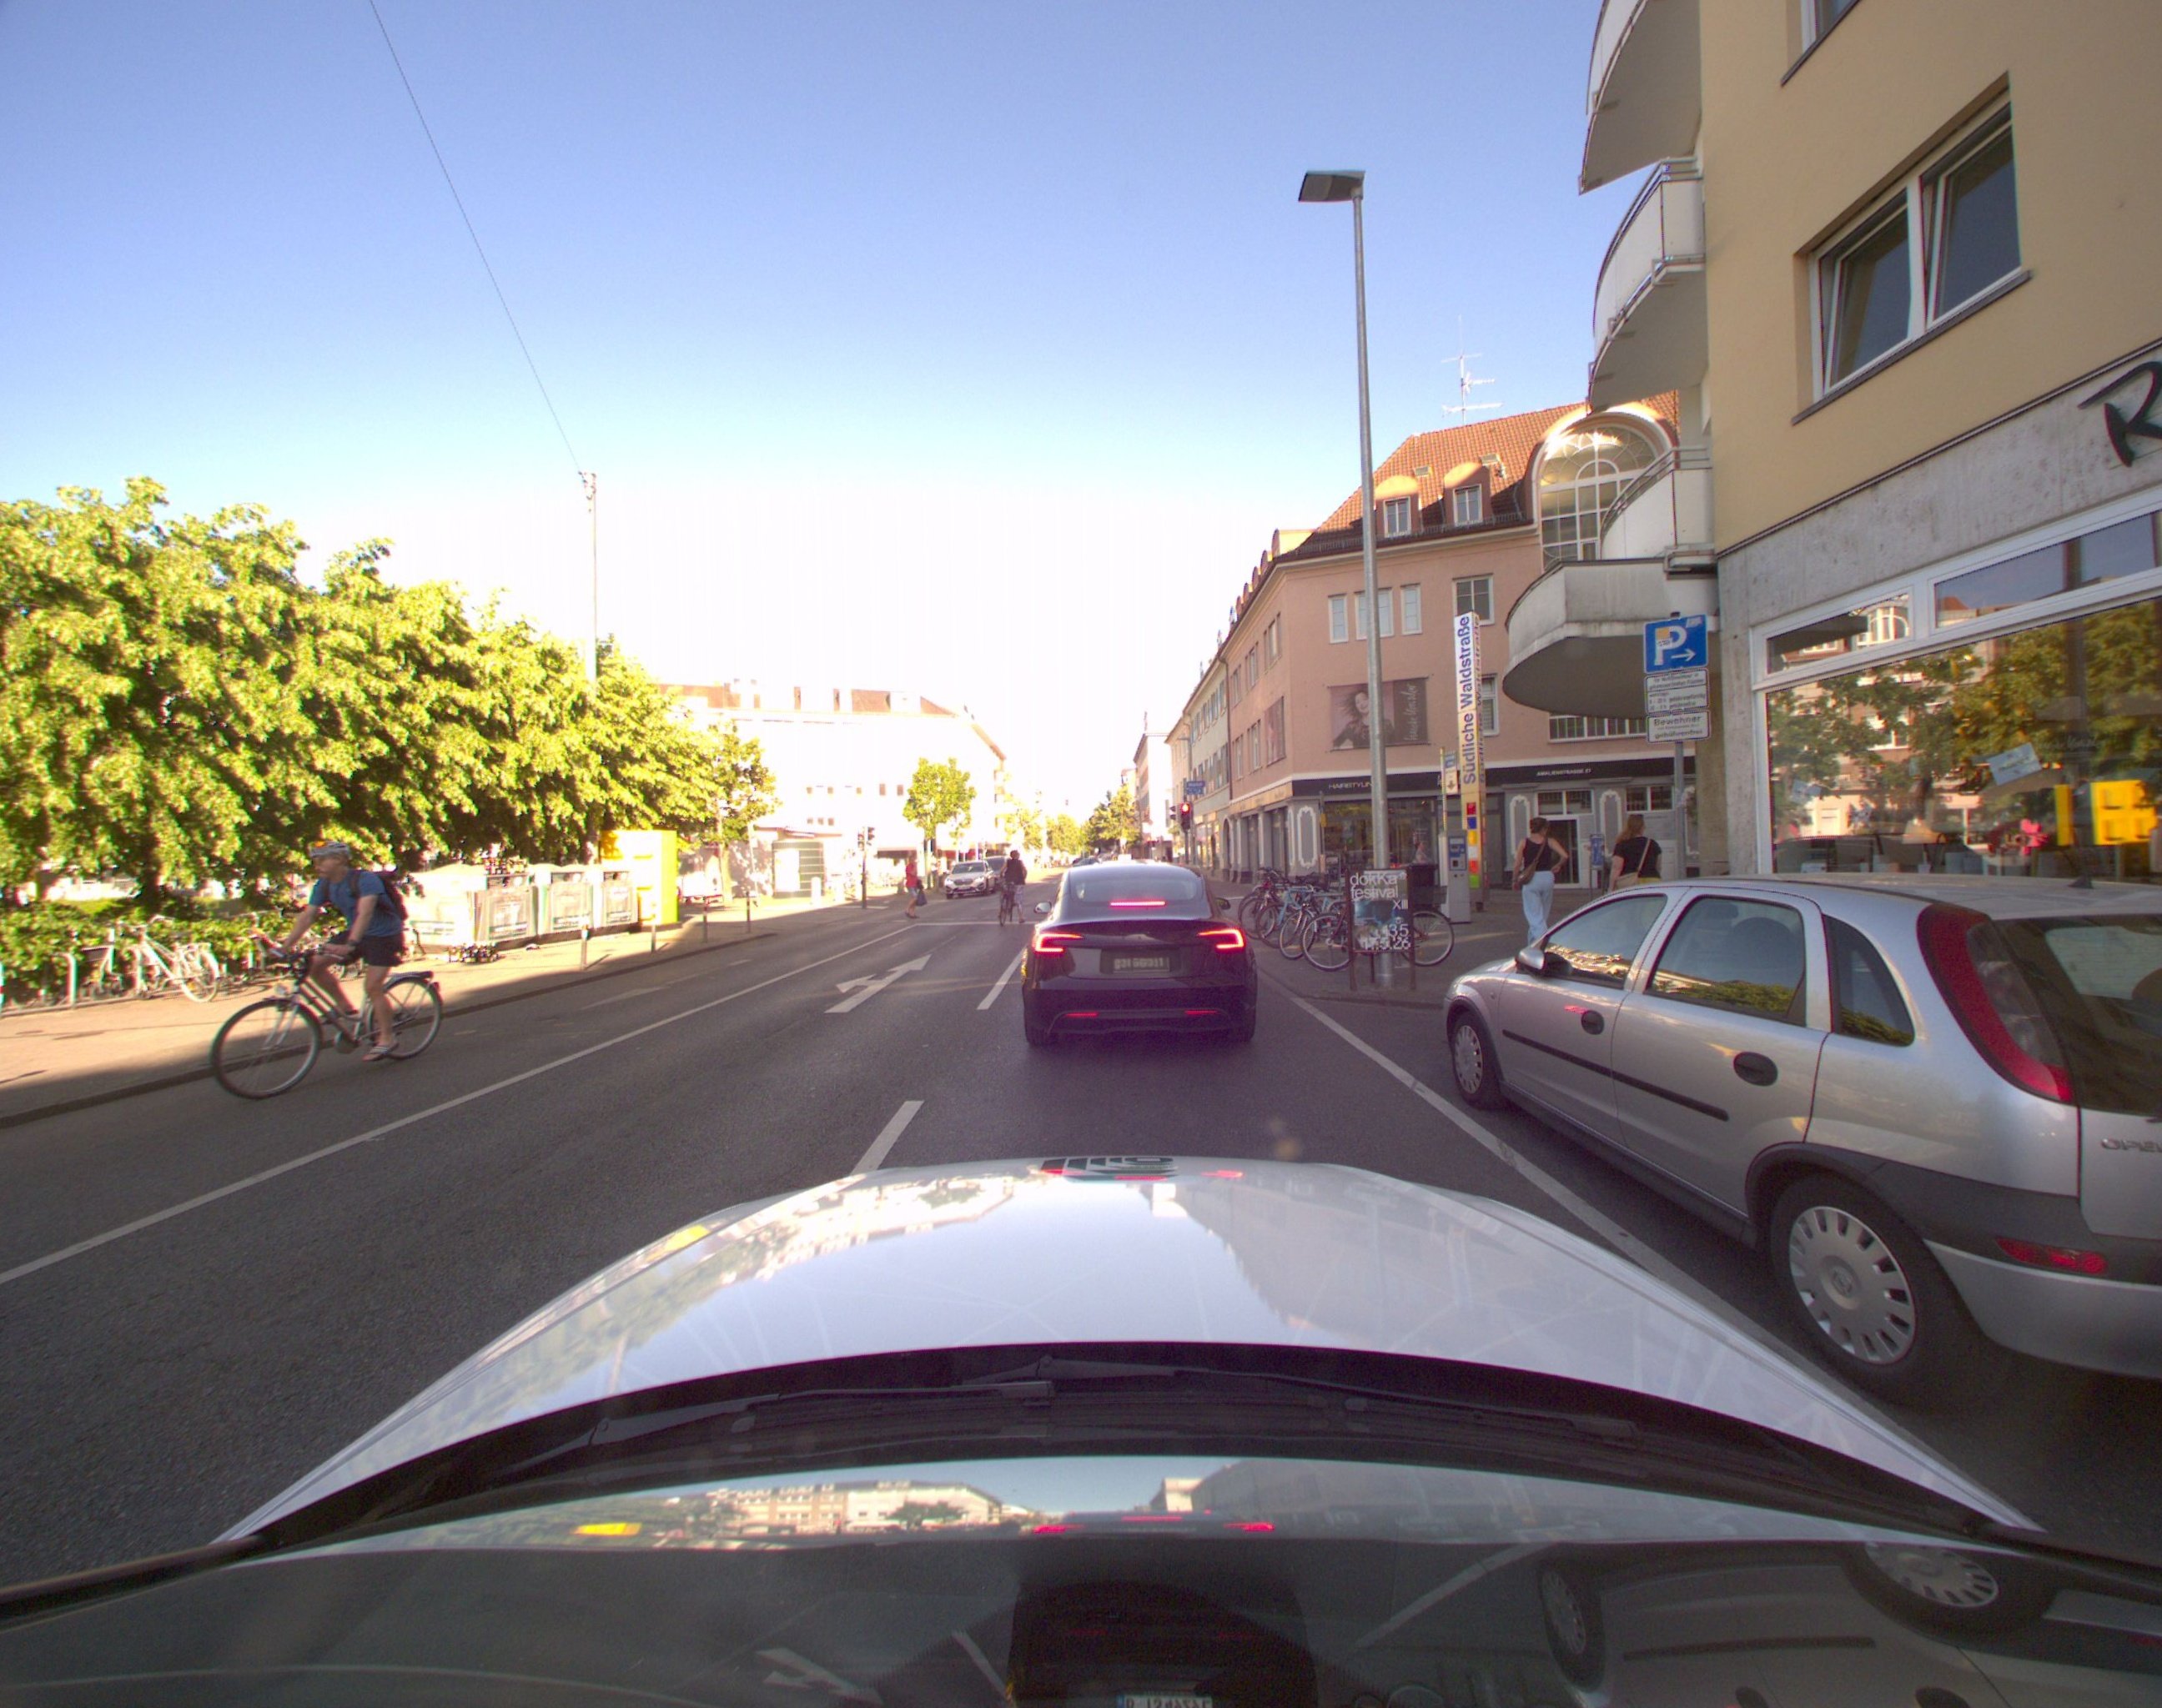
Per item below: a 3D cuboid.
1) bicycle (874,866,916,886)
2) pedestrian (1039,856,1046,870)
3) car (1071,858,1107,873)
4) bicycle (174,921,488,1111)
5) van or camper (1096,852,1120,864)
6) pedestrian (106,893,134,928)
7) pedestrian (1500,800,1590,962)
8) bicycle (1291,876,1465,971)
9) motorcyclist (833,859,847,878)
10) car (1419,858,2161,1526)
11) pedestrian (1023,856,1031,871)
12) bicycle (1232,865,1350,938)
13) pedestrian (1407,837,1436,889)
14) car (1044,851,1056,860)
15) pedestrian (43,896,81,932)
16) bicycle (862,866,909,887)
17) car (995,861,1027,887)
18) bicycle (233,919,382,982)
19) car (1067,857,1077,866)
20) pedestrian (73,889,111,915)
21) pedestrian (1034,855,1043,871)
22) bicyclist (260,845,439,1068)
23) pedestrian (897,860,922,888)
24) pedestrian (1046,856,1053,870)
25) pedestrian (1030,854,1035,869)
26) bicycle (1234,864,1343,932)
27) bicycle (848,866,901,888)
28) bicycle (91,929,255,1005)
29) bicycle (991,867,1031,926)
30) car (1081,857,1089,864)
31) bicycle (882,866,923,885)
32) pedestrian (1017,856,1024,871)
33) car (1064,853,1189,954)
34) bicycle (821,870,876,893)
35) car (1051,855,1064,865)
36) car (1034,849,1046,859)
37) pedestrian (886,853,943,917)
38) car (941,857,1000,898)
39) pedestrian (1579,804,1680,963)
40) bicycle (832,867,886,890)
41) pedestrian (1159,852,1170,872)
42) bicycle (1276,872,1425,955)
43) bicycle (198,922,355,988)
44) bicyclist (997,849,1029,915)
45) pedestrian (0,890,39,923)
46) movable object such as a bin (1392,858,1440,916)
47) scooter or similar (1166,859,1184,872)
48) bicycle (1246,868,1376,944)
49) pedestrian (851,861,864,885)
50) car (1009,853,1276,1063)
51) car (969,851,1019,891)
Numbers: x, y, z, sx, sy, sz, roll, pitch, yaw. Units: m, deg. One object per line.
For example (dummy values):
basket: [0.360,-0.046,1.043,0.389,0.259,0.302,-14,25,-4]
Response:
bicycle: [-11.998,1.401,52.571,2.535,1.251,0.942,0,-1,-1]
pedestrian: [-5.221,1.216,109.691,0.696,1.868,0.905,0,-1,-15]
car: [0.820,1.149,81.027,1.677,1.390,3.941,-1,-1,36]
bicycle: [-5.988,1.221,6.701,0.613,1.162,1.960,-3,-1,4]
van or camper: [5.643,0.844,167.653,4.832,2.438,1.851,-1,0,1]
pedestrian: [-44.174,2.581,37.435,0.827,1.520,0.782,-1,-1,38]
pedestrian: [5.644,0.320,9.962,0.675,1.849,0.898,-5,-1,19]
bicycle: [3.635,0.845,10.075,1.875,1.044,0.653,-2,0,3]
motorcyclist: [-21.769,1.294,73.589,1.115,1.633,0.769,0,-1,-28]
car: [2.959,0.739,3.539,1.578,1.426,3.581,0,-1,2]
pedestrian: [-6.455,1.128,97.457,0.734,1.868,0.787,0,-1,-15]
bicycle: [3.495,0.775,13.635,1.806,1.152,0.653,-1,0,3]
pedestrian: [10.352,0.259,24.780,0.714,1.549,0.797,-1,-1,29]
car: [-7.154,0.283,188.727,2.266,2.014,4.720,0,-1,3]
pedestrian: [-45.568,2.680,36.436,0.928,1.520,0.924,0,-1,-43]
bicycle: [-12.053,1.387,50.295,2.655,1.259,0.942,0,-1,-1]
car: [-4.256,1.204,50.040,1.455,1.430,3.607,-5,-1,2]
bicycle: [-11.462,1.427,12.096,1.663,0.859,0.469,0,-1,-5]
car: [-1.987,1.770,187.422,2.124,1.970,4.135,-1,0,2]
pedestrian: [-47.448,2.295,39.078,0.857,1.214,0.905,-1,-1,19]
pedestrian: [-4.974,1.095,94.784,0.726,1.868,0.796,-1,-1,30]
bicyclist: [-5.998,0.799,6.719,0.697,1.709,0.811,-2,-1,5]
pedestrian: [-10.312,1.200,49.053,1.086,1.611,1.269,-1,-1,9]
pedestrian: [-4.067,1.176,105.748,0.774,1.868,1.005,0,-1,-10]
pedestrian: [-6.211,0.974,104.218,0.693,1.868,0.658,0,-1,-3]
bicycle: [3.736,0.783,14.764,1.806,1.152,0.653,-1,0,3]
bicycle: [-12.154,1.364,47.977,2.867,1.270,0.942,0,-1,-1]
bicycle: [-11.463,1.419,10.299,1.560,0.885,0.470,0,-1,1]
bicycle: [-1.577,0.937,18.682,0.625,1.223,2.002,0,1,3]
car: [1.001,1.641,210.814,1.886,1.813,3.925,0,-1,0]
bicycle: [-12.052,1.421,54.998,2.535,1.251,0.942,0,-1,-1]
pedestrian: [-7.254,1.133,97.339,0.734,1.868,0.787,0,-1,-15]
car: [0.741,0.749,14.299,1.843,1.482,4.453,0,0,2]
bicycle: [-12.325,1.439,43.238,2.652,1.195,0.942,0,-1,-1]
car: [-4.850,1.316,166.802,2.405,1.970,4.679,-1,0,2]
car: [-9.010,-0.019,180.132,2.266,2.014,4.720,0,-1,3]
pedestrian: [-4.572,0.836,22.391,1.100,1.719,1.067,-1,-1,22]
car: [-4.884,1.016,36.591,1.818,1.565,4.302,-5,-1,2]
pedestrian: [6.402,0.340,9.558,0.715,1.754,0.792,-4,-1,21]
bicycle: [-12.393,1.371,45.582,2.772,1.274,0.933,0,-1,-2]
pedestrian: [7.206,0.700,70.182,0.660,1.760,0.649,0,-1,-22]
bicycle: [3.655,0.798,11.148,1.806,1.060,0.653,-1,0,3]
bicycle: [-11.427,1.425,11.597,1.667,0.859,0.469,0,-1,-5]
bicyclist: [-1.563,0.625,18.795,0.603,1.484,0.959,0,-1,3]
pedestrian: [-63.206,3.114,48.414,1.306,1.842,1.090,0,-1,-35]
movable object such as a bin: [6.744,0.659,16.415,0.633,1.103,0.728,-4,-1,5]
scooter or similar: [8.124,0.998,70.593,1.339,1.134,0.804,0,-1,-23]
bicycle: [3.517,0.791,12.560,1.806,1.102,0.653,-1,0,3]
pedestrian: [-16.716,1.426,60.876,0.844,1.760,0.704,0,-1,-12]
car: [0.494,0.739,7.876,1.843,1.447,4.453,0,0,2]
car: [-4.495,0.835,42.914,1.938,1.947,4.822,-1,0,2]
